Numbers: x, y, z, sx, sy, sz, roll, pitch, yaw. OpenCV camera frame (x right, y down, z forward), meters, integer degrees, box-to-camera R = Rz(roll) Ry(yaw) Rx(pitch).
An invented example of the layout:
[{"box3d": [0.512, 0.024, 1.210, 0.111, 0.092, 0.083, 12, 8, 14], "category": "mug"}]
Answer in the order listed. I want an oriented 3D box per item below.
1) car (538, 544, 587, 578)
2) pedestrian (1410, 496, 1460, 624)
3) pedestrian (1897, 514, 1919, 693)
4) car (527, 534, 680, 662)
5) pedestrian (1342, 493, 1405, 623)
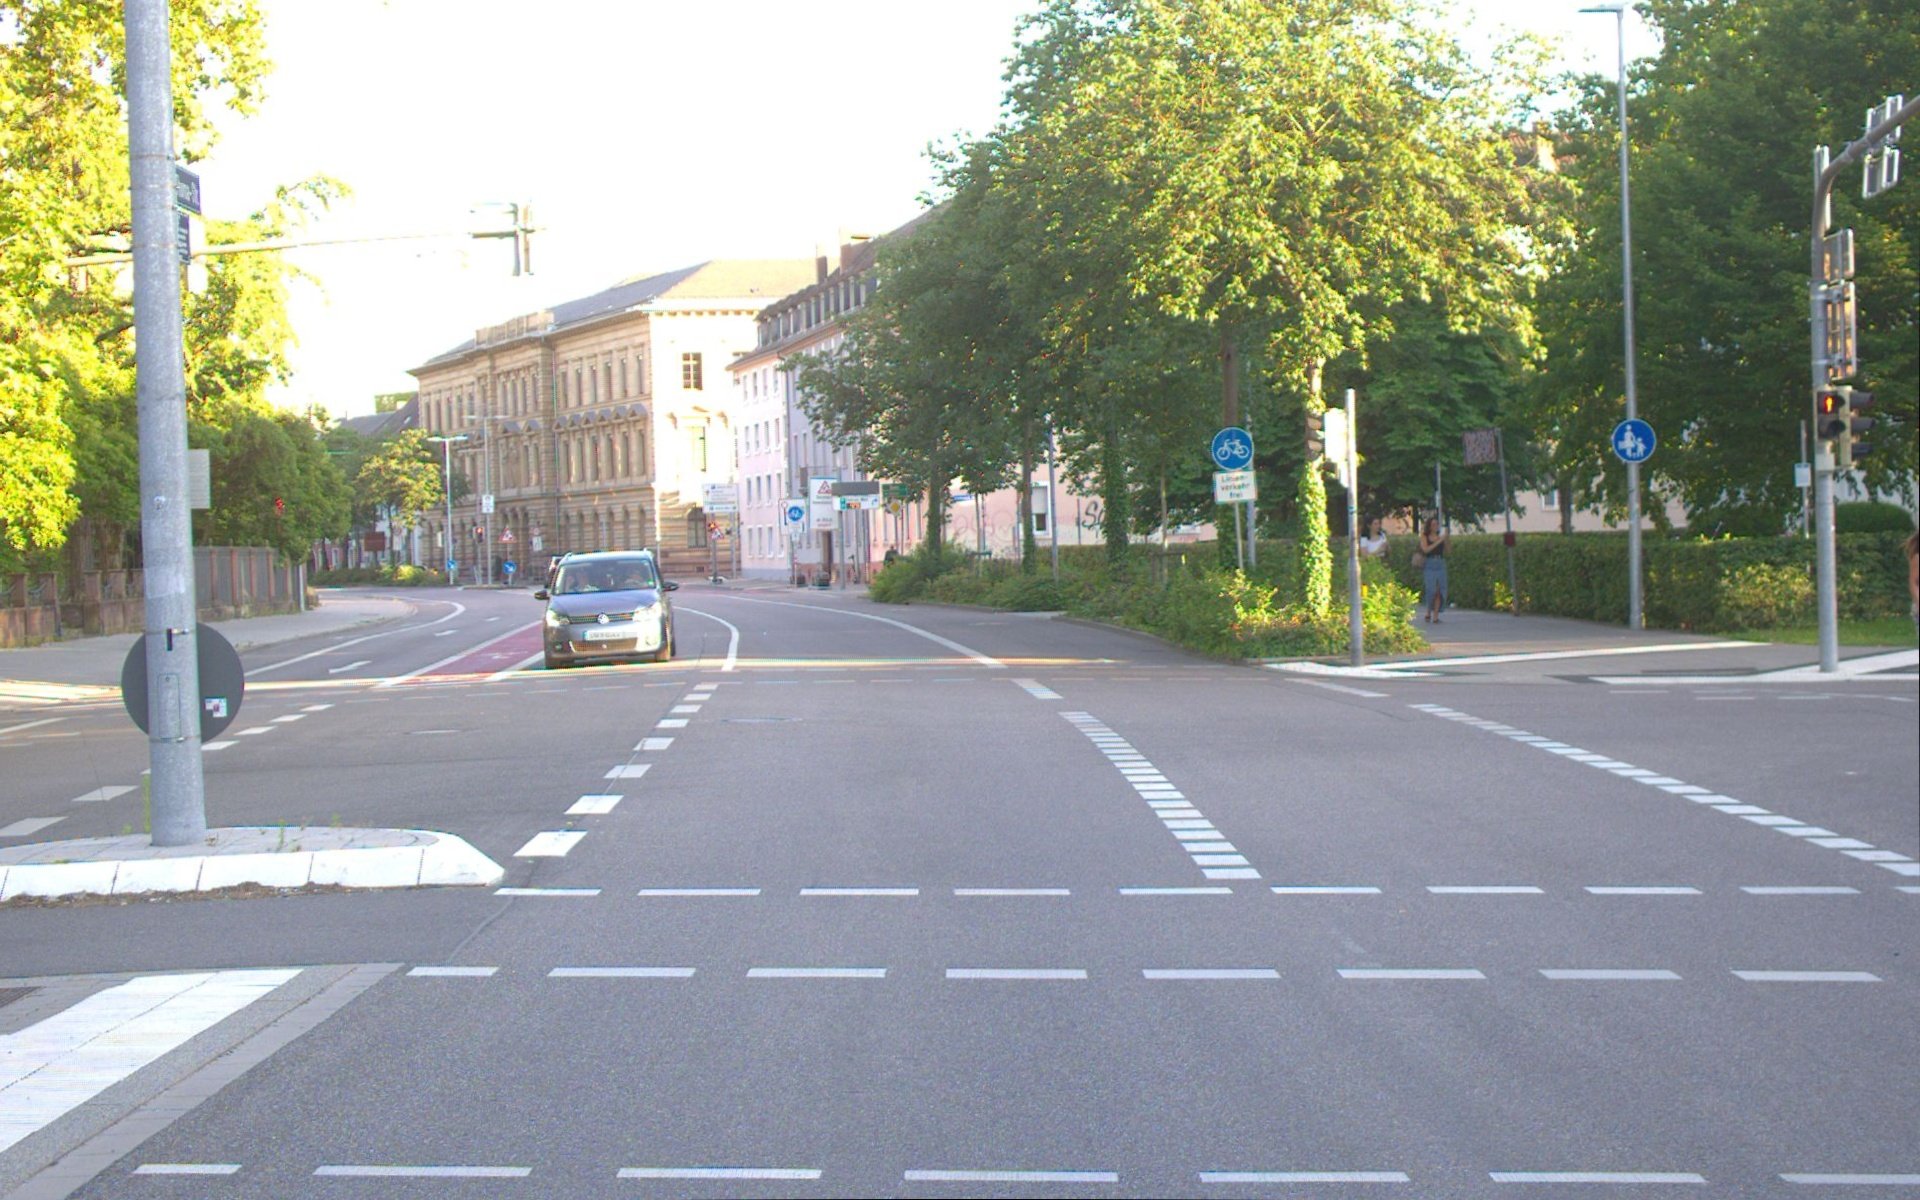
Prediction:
[{"box3d": [-19.634, -1.916, 169.810, 1.819, 1.583, 4.001, -3, 1, -14], "category": "car"}, {"box3d": [7.479, -0.633, 54.154, 0.635, 2.007, 0.720, -1, 1, -4], "category": "pedestrian"}, {"box3d": [9.054, 0.022, 31.706, 0.599, 1.630, 0.691, -1, 1, -5], "category": "pedestrian"}, {"box3d": [-5.106, -0.063, 49.660, 1.849, 1.714, 4.296, -2, 1, -2], "category": "car"}, {"box3d": [6.448, -0.654, 53.602, 0.870, 2.007, 0.722, 0, 1, -1], "category": "pedestrian"}]
